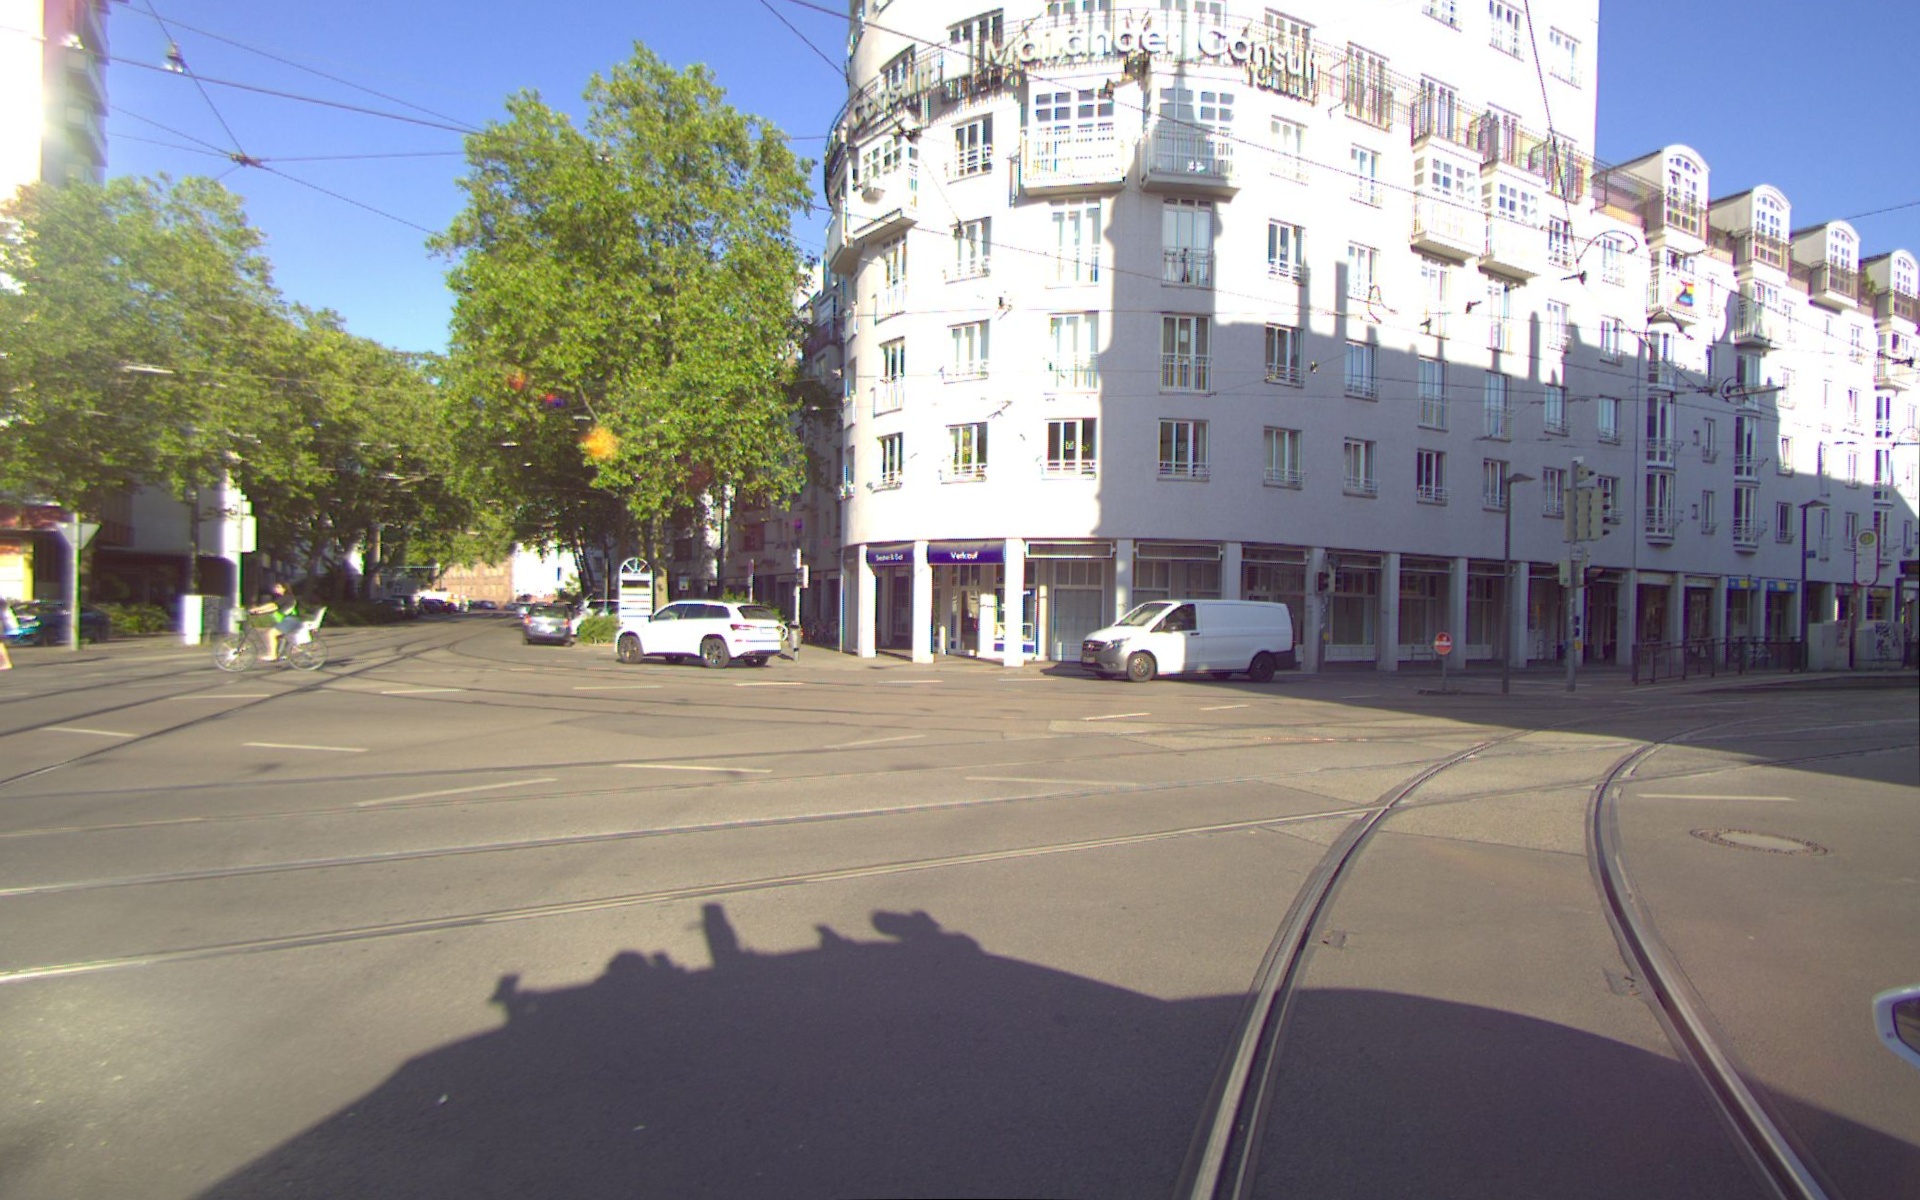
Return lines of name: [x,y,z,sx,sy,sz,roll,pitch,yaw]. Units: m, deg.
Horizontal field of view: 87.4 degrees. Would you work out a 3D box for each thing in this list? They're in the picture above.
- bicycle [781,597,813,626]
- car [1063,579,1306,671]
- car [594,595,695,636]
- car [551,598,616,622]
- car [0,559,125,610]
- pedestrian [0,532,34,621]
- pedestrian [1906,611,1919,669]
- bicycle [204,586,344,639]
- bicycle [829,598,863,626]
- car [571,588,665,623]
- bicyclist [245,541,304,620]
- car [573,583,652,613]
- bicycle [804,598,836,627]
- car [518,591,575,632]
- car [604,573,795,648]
bicycle: [-6.716,0.458,41.267,0.807,1.122,1.937,2,0,-23]
car: [5.219,0.616,23.395,5.265,1.862,1.991,3,-1,-20]
car: [-13.946,0.701,44.435,3.954,1.530,1.785,4,1,-30]
car: [-25.769,0.681,68.727,3.948,1.530,1.788,2,-1,-27]
car: [-28.690,-0.462,31.547,1.858,1.440,4.446,3,-1,-12]
pedestrian: [-18.814,-0.450,19.674,0.686,1.704,0.867,1,0,-20]
pedestrian: [29.050,1.219,30.252,0.606,1.714,0.596,3,0,-29]
bicycle: [-13.712,0.278,20.162,2.242,0.939,0.836,4,-5,-34]
bicycle: [-4.838,0.505,42.383,0.808,1.122,1.935,2,0,-26]
car: [-16.162,0.265,47.493,3.948,1.530,1.788,2,-1,-27]
bicyclist: [-13.750,-0.364,20.164,0.887,1.486,0.836,3,-4,-34]
car: [-19.258,-0.102,55.694,3.948,1.530,1.788,2,-1,-27]
bicycle: [-5.828,0.493,41.673,0.807,1.122,1.937,2,0,-23]
car: [-16.075,0.417,38.970,1.865,1.440,4.429,2,-1,-24]
car: [-6.672,0.250,25.682,4.425,1.641,1.998,3,0,25]
